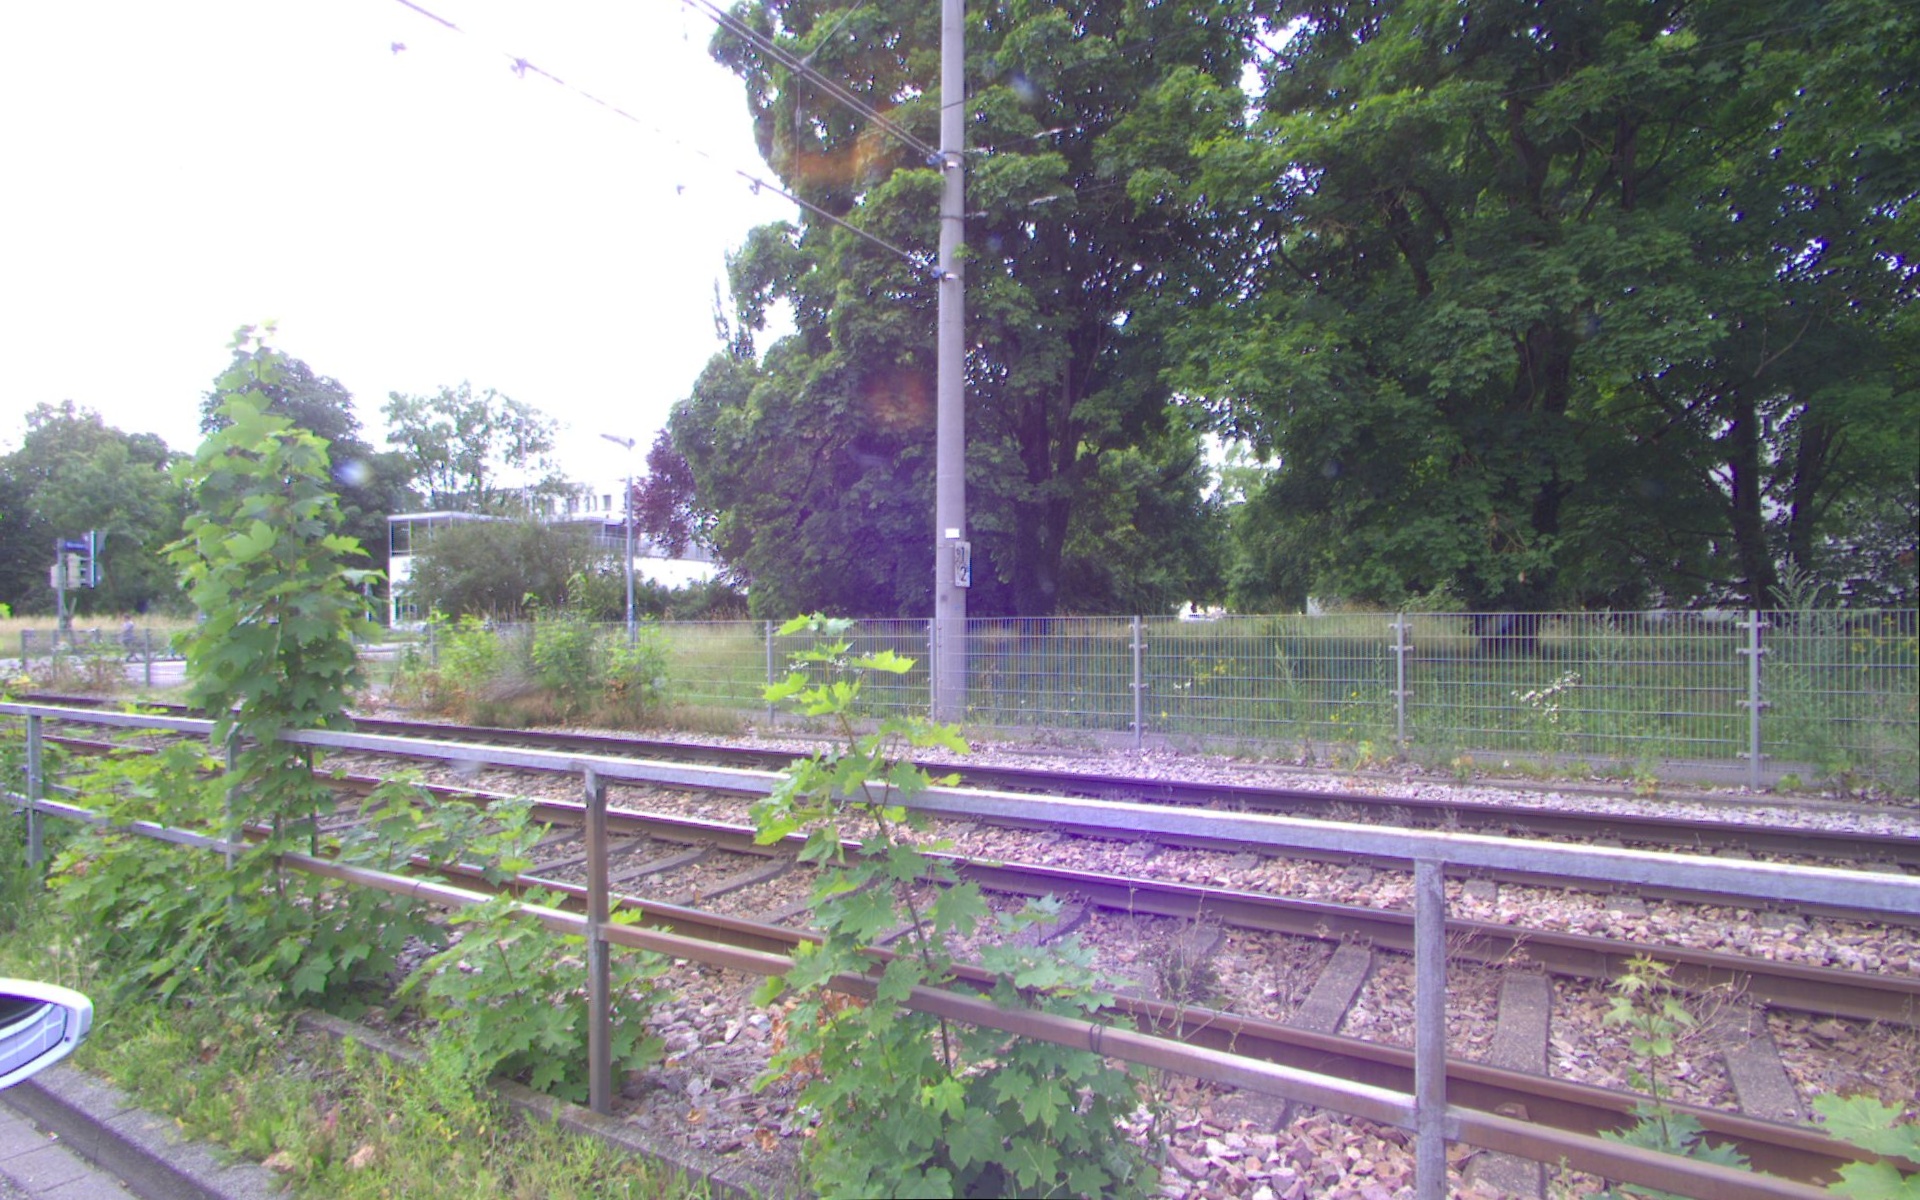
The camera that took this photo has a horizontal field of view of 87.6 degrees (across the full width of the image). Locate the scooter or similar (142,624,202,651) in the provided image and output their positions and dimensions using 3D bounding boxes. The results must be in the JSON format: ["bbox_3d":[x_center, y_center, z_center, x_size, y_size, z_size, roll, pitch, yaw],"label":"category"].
[{"bbox_3d":[-29.665,1.403,37.705,0.949,0.992,1.570,-1,0,34],"label":"scooter or similar"}]

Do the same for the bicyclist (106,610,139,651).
[{"bbox_3d":[-30.472,1.106,36.435,0.449,1.495,0.837,-1,0,34],"label":"bicyclist"}]

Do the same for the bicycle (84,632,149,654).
[{"bbox_3d":[-30.535,1.549,36.270,0.548,0.775,1.718,-1,-2,34],"label":"bicycle"}]
